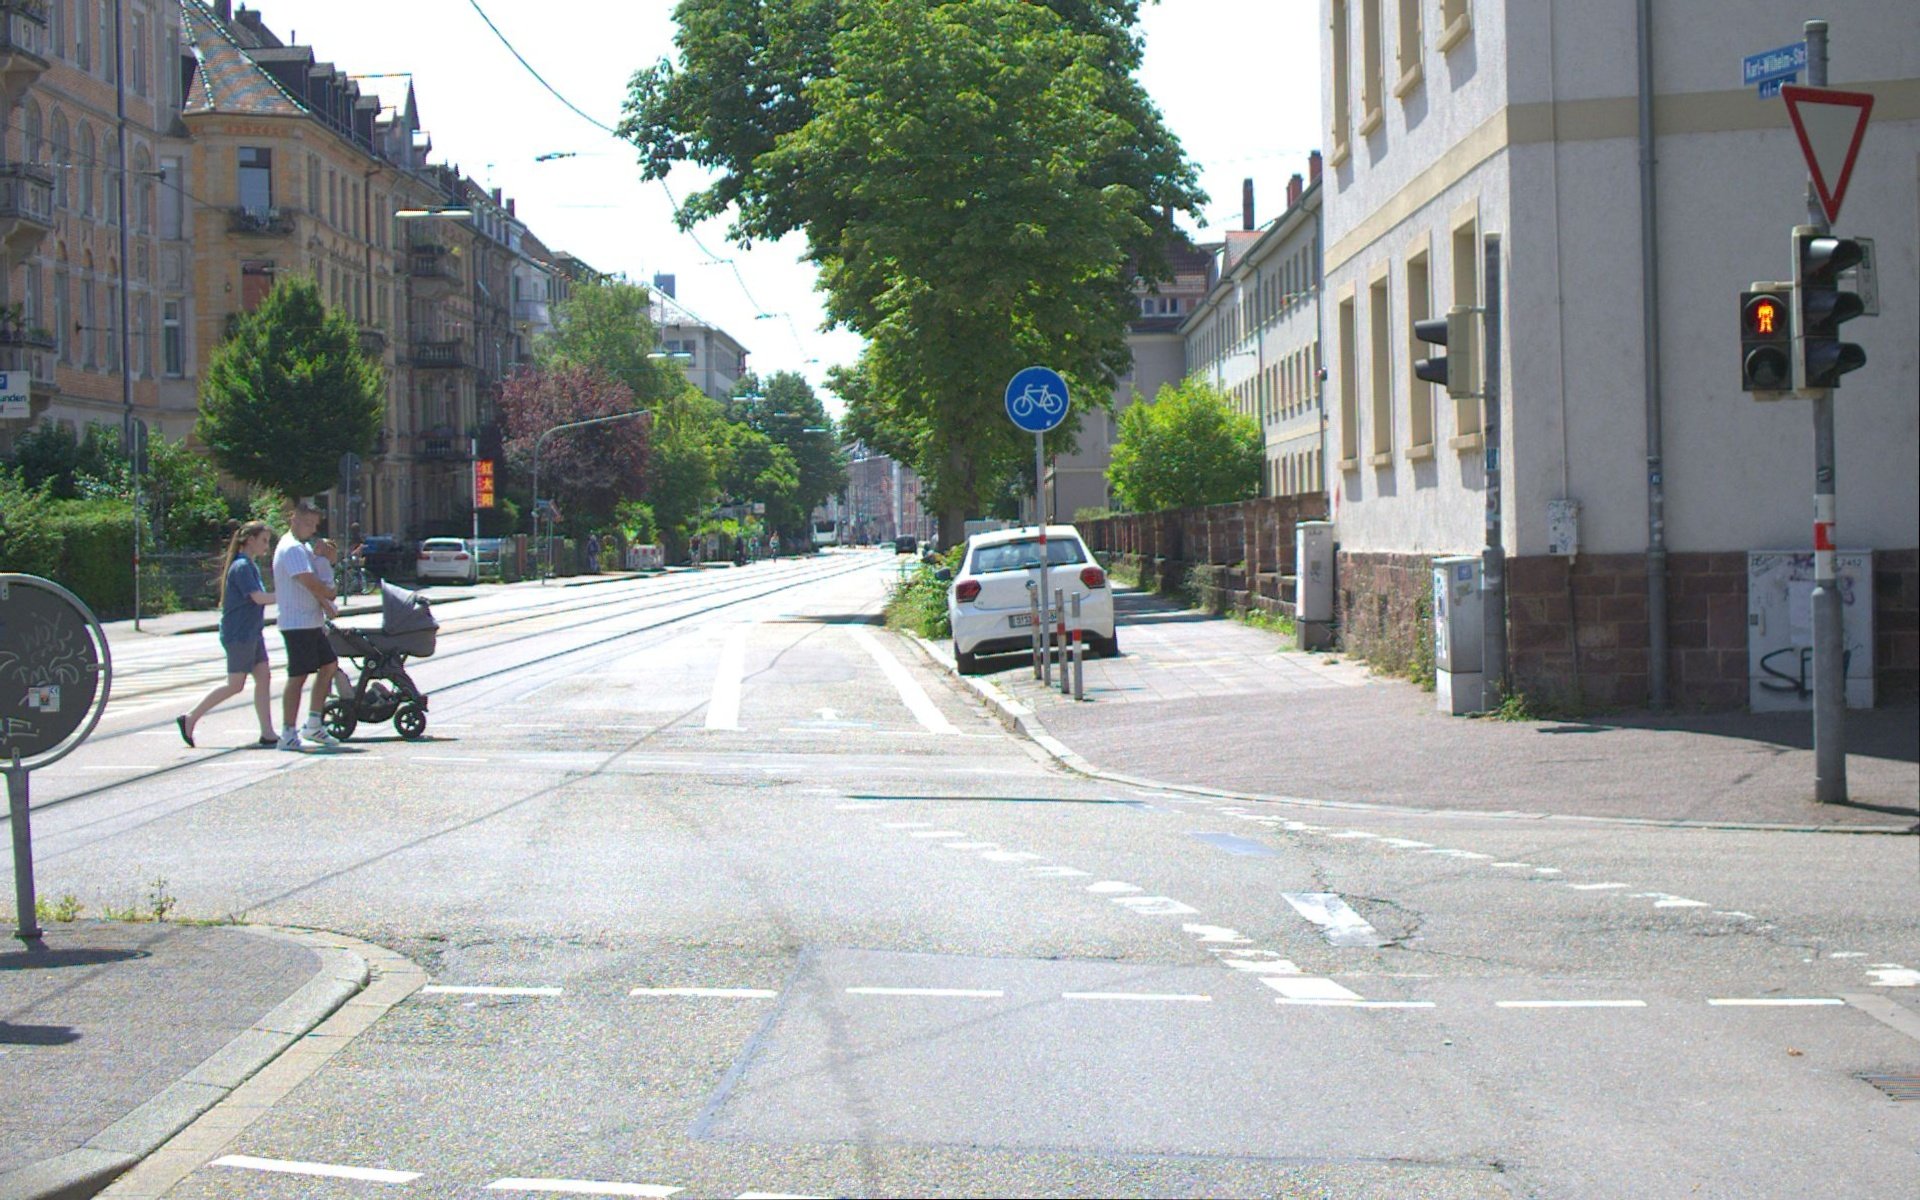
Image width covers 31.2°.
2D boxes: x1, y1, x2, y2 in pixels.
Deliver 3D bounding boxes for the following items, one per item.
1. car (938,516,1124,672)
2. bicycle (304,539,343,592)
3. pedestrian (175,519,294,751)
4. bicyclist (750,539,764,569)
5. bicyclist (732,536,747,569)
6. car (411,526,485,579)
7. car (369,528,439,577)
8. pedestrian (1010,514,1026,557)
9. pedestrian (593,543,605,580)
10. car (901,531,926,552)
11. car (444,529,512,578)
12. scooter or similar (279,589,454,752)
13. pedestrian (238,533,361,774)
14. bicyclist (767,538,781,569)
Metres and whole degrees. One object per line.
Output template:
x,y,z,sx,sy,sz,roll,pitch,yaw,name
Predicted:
0.716,-0.085,37.330,1.815,1.511,4.000,-3,1,-1,car
-15.665,-0.857,84.670,0.677,1.274,1.919,-1,1,-3,bicycle
-5.223,0.244,24.781,0.675,1.640,0.558,1,0,7,pedestrian
-12.080,-2.747,204.873,0.727,1.812,1.079,1,0,1,bicyclist
-11.962,-2.584,186.511,0.727,1.762,1.079,1,0,1,bicyclist
-17.193,-1.588,115.567,1.919,1.709,4.000,1,1,-1,car
-20.023,-1.712,123.904,1.919,1.709,4.000,1,1,-1,car
2.098,-2.345,124.965,0.521,1.557,0.573,-1,1,-1,pedestrian
-14.574,-1.555,138.853,0.406,1.456,0.436,-1,1,-1,pedestrian
-3.505,-4.397,258.812,1.825,1.514,4.000,1,1,-1,car
-17.337,-1.675,123.831,1.919,1.709,4.000,1,1,-1,car
-4.287,0.506,24.868,1.201,1.151,0.558,1,0,-6,scooter or similar
-4.568,0.361,23.794,0.675,1.640,0.558,1,0,7,pedestrian
-11.085,-2.763,204.798,0.727,1.812,1.079,1,0,1,bicyclist
